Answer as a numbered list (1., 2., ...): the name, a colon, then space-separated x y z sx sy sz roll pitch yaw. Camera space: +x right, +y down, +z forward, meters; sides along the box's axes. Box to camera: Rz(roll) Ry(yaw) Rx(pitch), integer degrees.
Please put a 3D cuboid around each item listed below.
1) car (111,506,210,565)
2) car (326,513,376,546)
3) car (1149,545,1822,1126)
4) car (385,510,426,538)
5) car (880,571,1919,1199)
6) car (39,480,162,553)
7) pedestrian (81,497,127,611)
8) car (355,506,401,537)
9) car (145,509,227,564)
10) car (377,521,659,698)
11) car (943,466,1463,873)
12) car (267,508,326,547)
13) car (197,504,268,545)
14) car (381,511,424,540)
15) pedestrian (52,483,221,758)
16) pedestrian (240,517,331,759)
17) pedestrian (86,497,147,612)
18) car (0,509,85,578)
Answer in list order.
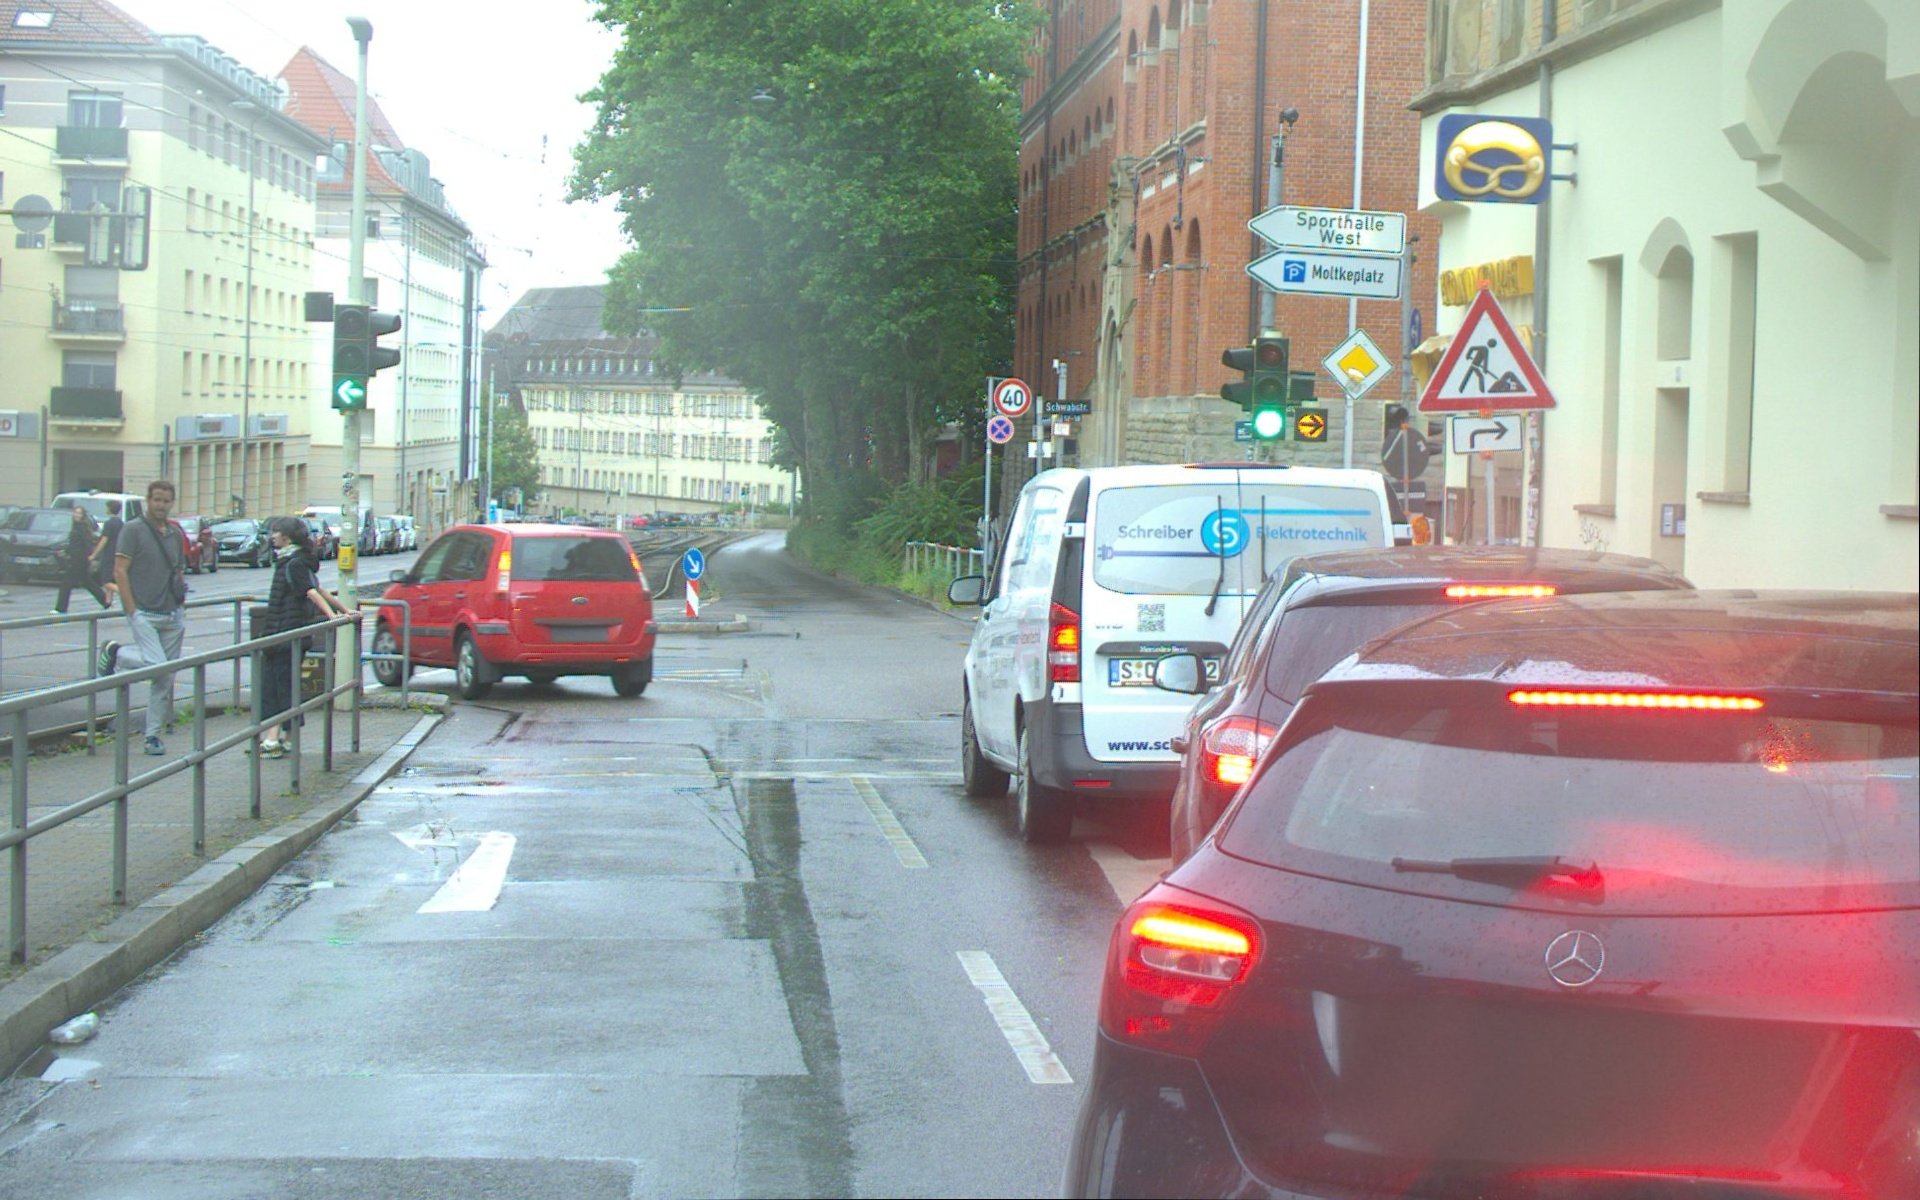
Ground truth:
1. car: -19.415 -1.567 83.595 1.680 1.351 3.703 1 1 -3
2. car: -22.441 -2.616 126.699 1.395 1.167 3.162 1 1 -3
3. car: 1.594 0.581 11.182 1.713 1.464 4.280 2 1 6
4. car: -23.934 -3.283 148.514 1.395 1.167 3.162 1 1 -3
5. car: 1.614 0.666 6.241 1.897 1.385 3.994 2 1 26
6. car: -19.075 -1.857 76.463 1.786 1.525 4.463 1 1 -3
7. pedestrian: -12.667 -0.677 50.870 0.518 1.660 0.477 2 1 -1
8. car: -23.012 -3.103 135.980 1.395 1.167 3.162 1 1 -3
9. car: -19.646 -1.615 87.351 1.499 1.351 3.162 1 1 -3
10. car: -4.075 0.046 31.256 1.679 1.484 3.614 0 1 -22
11. car: 1.108 0.265 17.854 1.933 1.825 4.282 1 1 -6
12. car: -21.005 -2.294 108.895 1.395 1.167 3.162 1 1 -3
13. car: -20.262 -2.102 95.823 1.437 1.103 3.162 1 1 -3
14. car: -23.350 -3.124 144.049 1.395 1.167 3.162 1 1 -3
15. pedestrian: -5.293 0.121 22.091 0.740 1.718 0.739 2 1 44
16. pedestrian: -4.323 0.240 22.046 0.531 1.525 0.437 1 1 -11
17. pedestrian: -12.295 -0.668 50.134 0.679 1.655 0.676 1 1 3
18. car: -18.904 -1.169 70.135 1.452 1.314 3.296 2 1 -4
